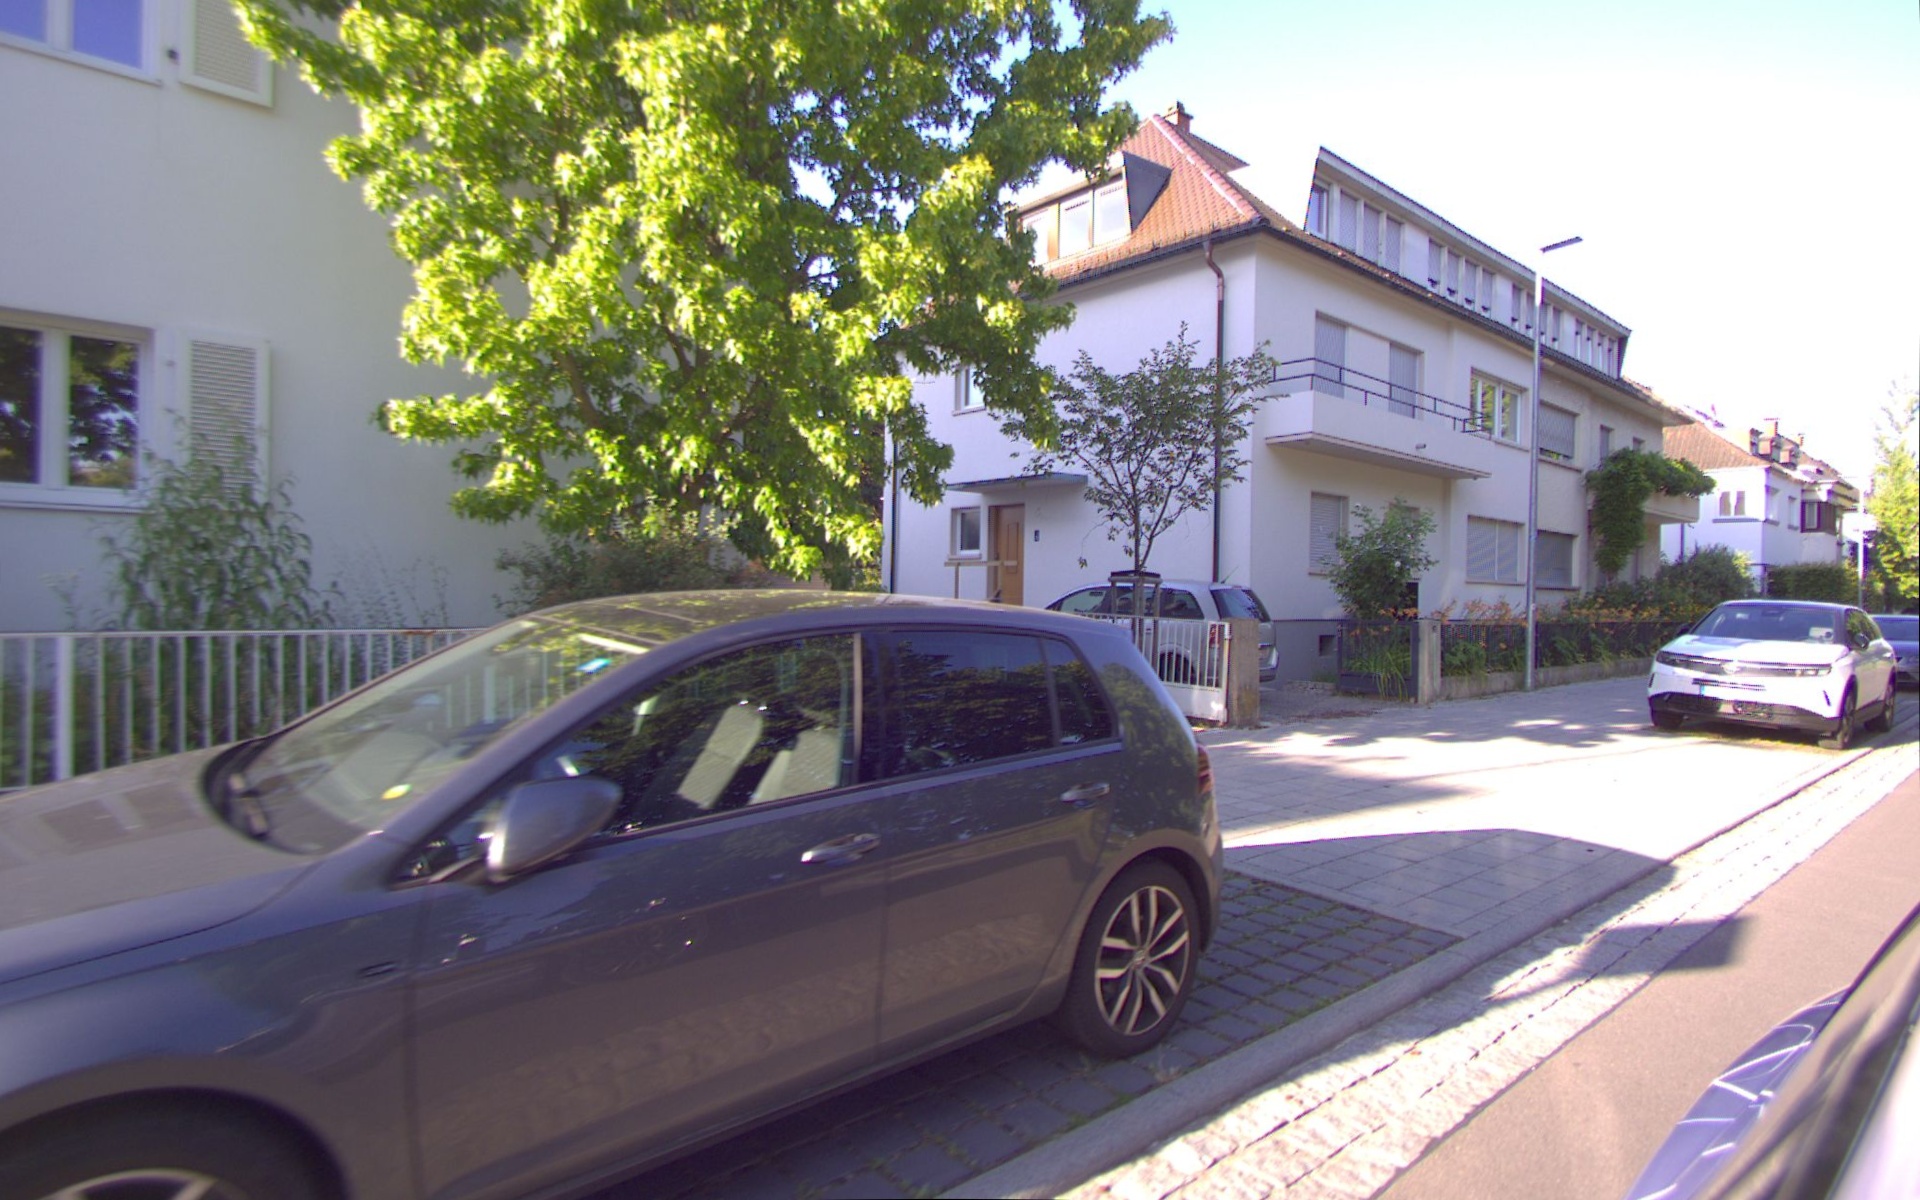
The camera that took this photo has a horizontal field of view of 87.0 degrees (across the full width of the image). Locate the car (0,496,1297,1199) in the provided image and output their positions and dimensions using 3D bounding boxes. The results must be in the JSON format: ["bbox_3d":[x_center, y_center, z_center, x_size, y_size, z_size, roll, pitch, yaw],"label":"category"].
[{"bbox_3d":[-0.971,0.582,2.970,4.049,1.500,1.799,2,2,-40],"label":"car"}]

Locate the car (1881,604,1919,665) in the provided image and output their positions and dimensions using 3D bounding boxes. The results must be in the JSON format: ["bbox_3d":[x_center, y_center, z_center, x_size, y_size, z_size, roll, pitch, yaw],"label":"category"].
[{"bbox_3d":[24.265,0.869,24.940,4.006,1.397,1.798,1,3,-41],"label":"car"}]

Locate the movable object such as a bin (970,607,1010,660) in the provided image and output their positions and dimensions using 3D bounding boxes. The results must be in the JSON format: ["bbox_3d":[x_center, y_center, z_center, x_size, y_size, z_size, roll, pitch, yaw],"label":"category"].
[{"bbox_3d":[0.553,0.608,18.607,0.498,0.957,0.508,2,-1,-40],"label":"movable object such as a bin"}]

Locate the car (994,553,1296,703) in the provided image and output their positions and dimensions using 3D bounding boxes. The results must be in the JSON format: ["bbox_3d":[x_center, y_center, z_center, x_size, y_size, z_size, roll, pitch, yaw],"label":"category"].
[{"bbox_3d":[2.560,0.376,14.619,3.983,1.869,1.786,0,-2,44],"label":"car"}]

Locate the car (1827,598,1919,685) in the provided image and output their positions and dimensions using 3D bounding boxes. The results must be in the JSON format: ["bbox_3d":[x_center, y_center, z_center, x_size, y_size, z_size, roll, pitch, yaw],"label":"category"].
[{"bbox_3d":[18.826,0.804,20.094,4.120,1.512,1.798,1,3,-41],"label":"car"}]

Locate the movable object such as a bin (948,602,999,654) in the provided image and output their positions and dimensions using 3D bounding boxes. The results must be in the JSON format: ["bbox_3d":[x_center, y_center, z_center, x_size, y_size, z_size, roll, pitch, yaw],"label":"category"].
[{"bbox_3d":[0.258,0.523,19.297,0.720,0.972,0.653,1,-1,-40],"label":"movable object such as a bin"}]

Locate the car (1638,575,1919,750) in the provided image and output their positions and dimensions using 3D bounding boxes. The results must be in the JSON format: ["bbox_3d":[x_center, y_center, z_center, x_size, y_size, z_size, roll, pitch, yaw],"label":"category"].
[{"bbox_3d":[10.402,0.687,12.638,4.492,1.729,1.911,2,2,-39],"label":"car"}]

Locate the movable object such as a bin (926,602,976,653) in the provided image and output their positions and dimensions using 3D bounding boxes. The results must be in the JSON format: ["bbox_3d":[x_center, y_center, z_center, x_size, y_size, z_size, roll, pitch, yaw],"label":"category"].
[{"bbox_3d":[-0.183,0.521,19.803,0.720,0.972,0.653,1,-1,-40],"label":"movable object such as a bin"}]
